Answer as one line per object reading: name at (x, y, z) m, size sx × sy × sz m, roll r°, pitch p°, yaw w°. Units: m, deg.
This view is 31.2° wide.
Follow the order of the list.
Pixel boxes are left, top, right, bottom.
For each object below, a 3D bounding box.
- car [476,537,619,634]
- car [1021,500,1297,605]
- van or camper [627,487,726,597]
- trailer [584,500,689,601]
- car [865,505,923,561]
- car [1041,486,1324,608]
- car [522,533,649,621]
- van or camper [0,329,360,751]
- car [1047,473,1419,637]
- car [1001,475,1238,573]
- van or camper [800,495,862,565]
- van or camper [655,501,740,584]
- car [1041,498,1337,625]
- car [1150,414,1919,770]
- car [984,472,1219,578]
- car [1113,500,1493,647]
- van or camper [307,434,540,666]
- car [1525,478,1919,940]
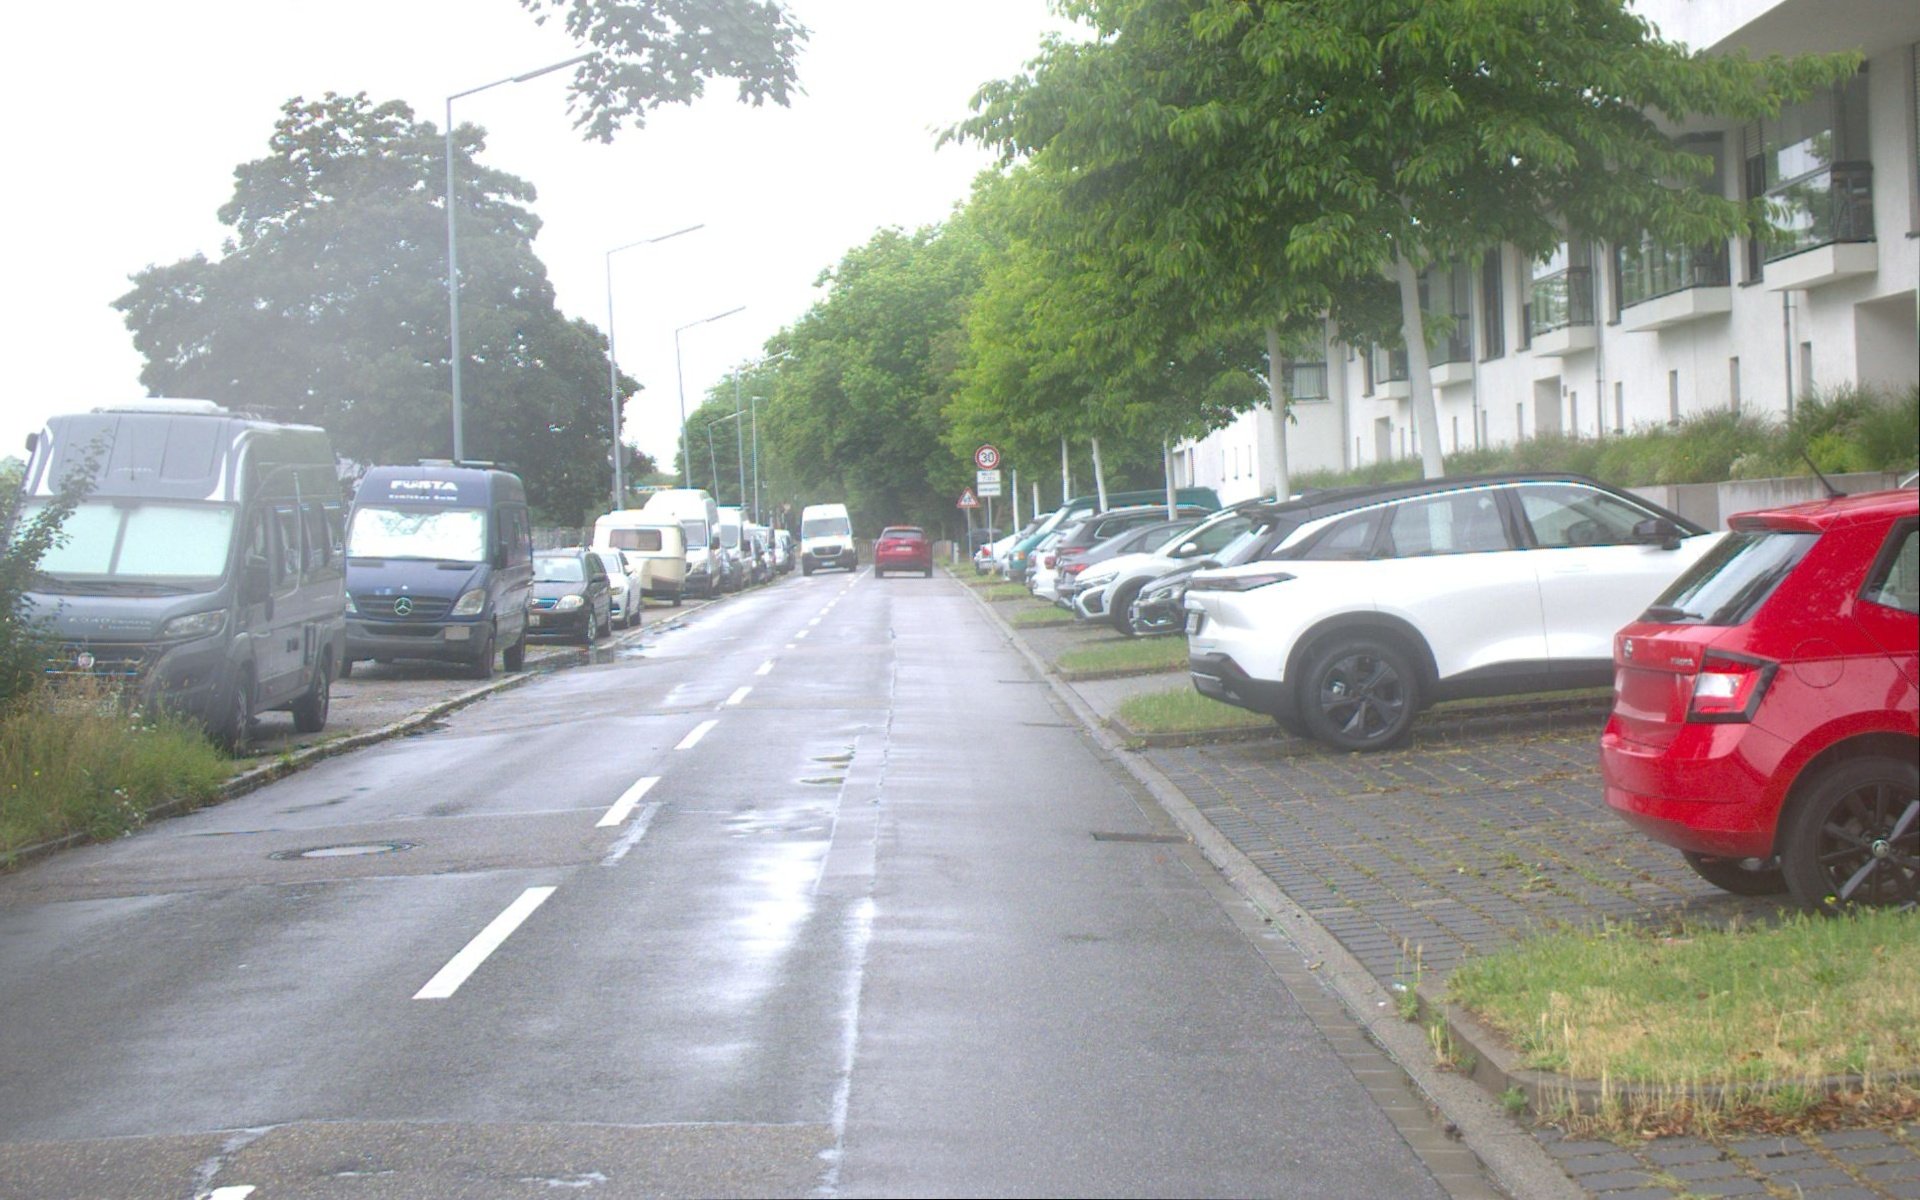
car at (-6.654, -0.266, 55.899) m, size 1.774 × 1.497 × 4.828 m, roll 0°, pitch 1°, yaw 0°
car at (3.239, -0.778, 56.474) m, size 4.298 × 1.423 × 1.637 m, roll -4°, pitch 1°, yaw -3°
van or camper at (-7.467, -1.538, 91.226) m, size 1.993 × 2.752 × 7.899 m, roll -1°, pitch 1°, yaw 0°
trailer at (-7.344, -1.150, 78.597) m, size 2.058 × 2.210 × 5.795 m, roll -1°, pitch 1°, yaw -2°
car at (-2.121, -2.152, 110.763) m, size 1.756 × 1.700 × 4.000 m, roll -2°, pitch 1°, yaw -1°
car at (3.463, -0.835, 54.052) m, size 4.161 × 1.619 × 1.898 m, roll -4°, pitch 1°, yaw -3°
car at (-6.792, -0.448, 62.768) m, size 1.887 × 1.520 × 5.110 m, roll 1°, pitch 1°, yaw -2°
van or camper at (-6.493, -0.477, 28.485) m, size 2.094 × 3.084 × 6.425 m, roll 1°, pitch 1°, yaw -2°
car at (3.480, -0.600, 44.428) m, size 4.476 × 1.681 × 1.936 m, roll -5°, pitch 2°, yaw -2°
car at (2.850, -1.368, 61.870) m, size 4.030 × 1.494 × 1.632 m, roll -4°, pitch 1°, yaw -4°
van or camper at (-4.916, -2.688, 131.823) m, size 1.993 × 2.488 × 7.178 m, roll -3°, pitch 1°, yaw 0°
van or camper at (-8.076, -1.779, 106.265) m, size 2.189 × 2.453 × 6.377 m, roll -1°, pitch 1°, yaw 0°
car at (3.220, -0.566, 48.867) m, size 3.987 × 1.504 × 1.684 m, roll -4°, pitch 2°, yaw -1°
car at (3.682, -0.072, 22.353) m, size 4.539 × 1.679 × 1.886 m, roll -7°, pitch 1°, yaw -3°
car at (2.907, -1.553, 71.275) m, size 4.617 × 2.012 × 1.858 m, roll -2°, pitch 1°, yaw -3°
car at (3.858, -0.324, 39.102) m, size 3.986 × 1.490 × 1.937 m, roll -2°, pitch 2°, yaw -4°
van or camper at (-6.761, -0.623, 44.129) m, size 2.094 × 2.706 × 7.575 m, roll 0°, pitch 1°, yaw -2°
car at (4.206, 0.246, 12.200) m, size 3.987 × 1.446 × 1.821 m, roll -4°, pitch 0°, yaw -1°
